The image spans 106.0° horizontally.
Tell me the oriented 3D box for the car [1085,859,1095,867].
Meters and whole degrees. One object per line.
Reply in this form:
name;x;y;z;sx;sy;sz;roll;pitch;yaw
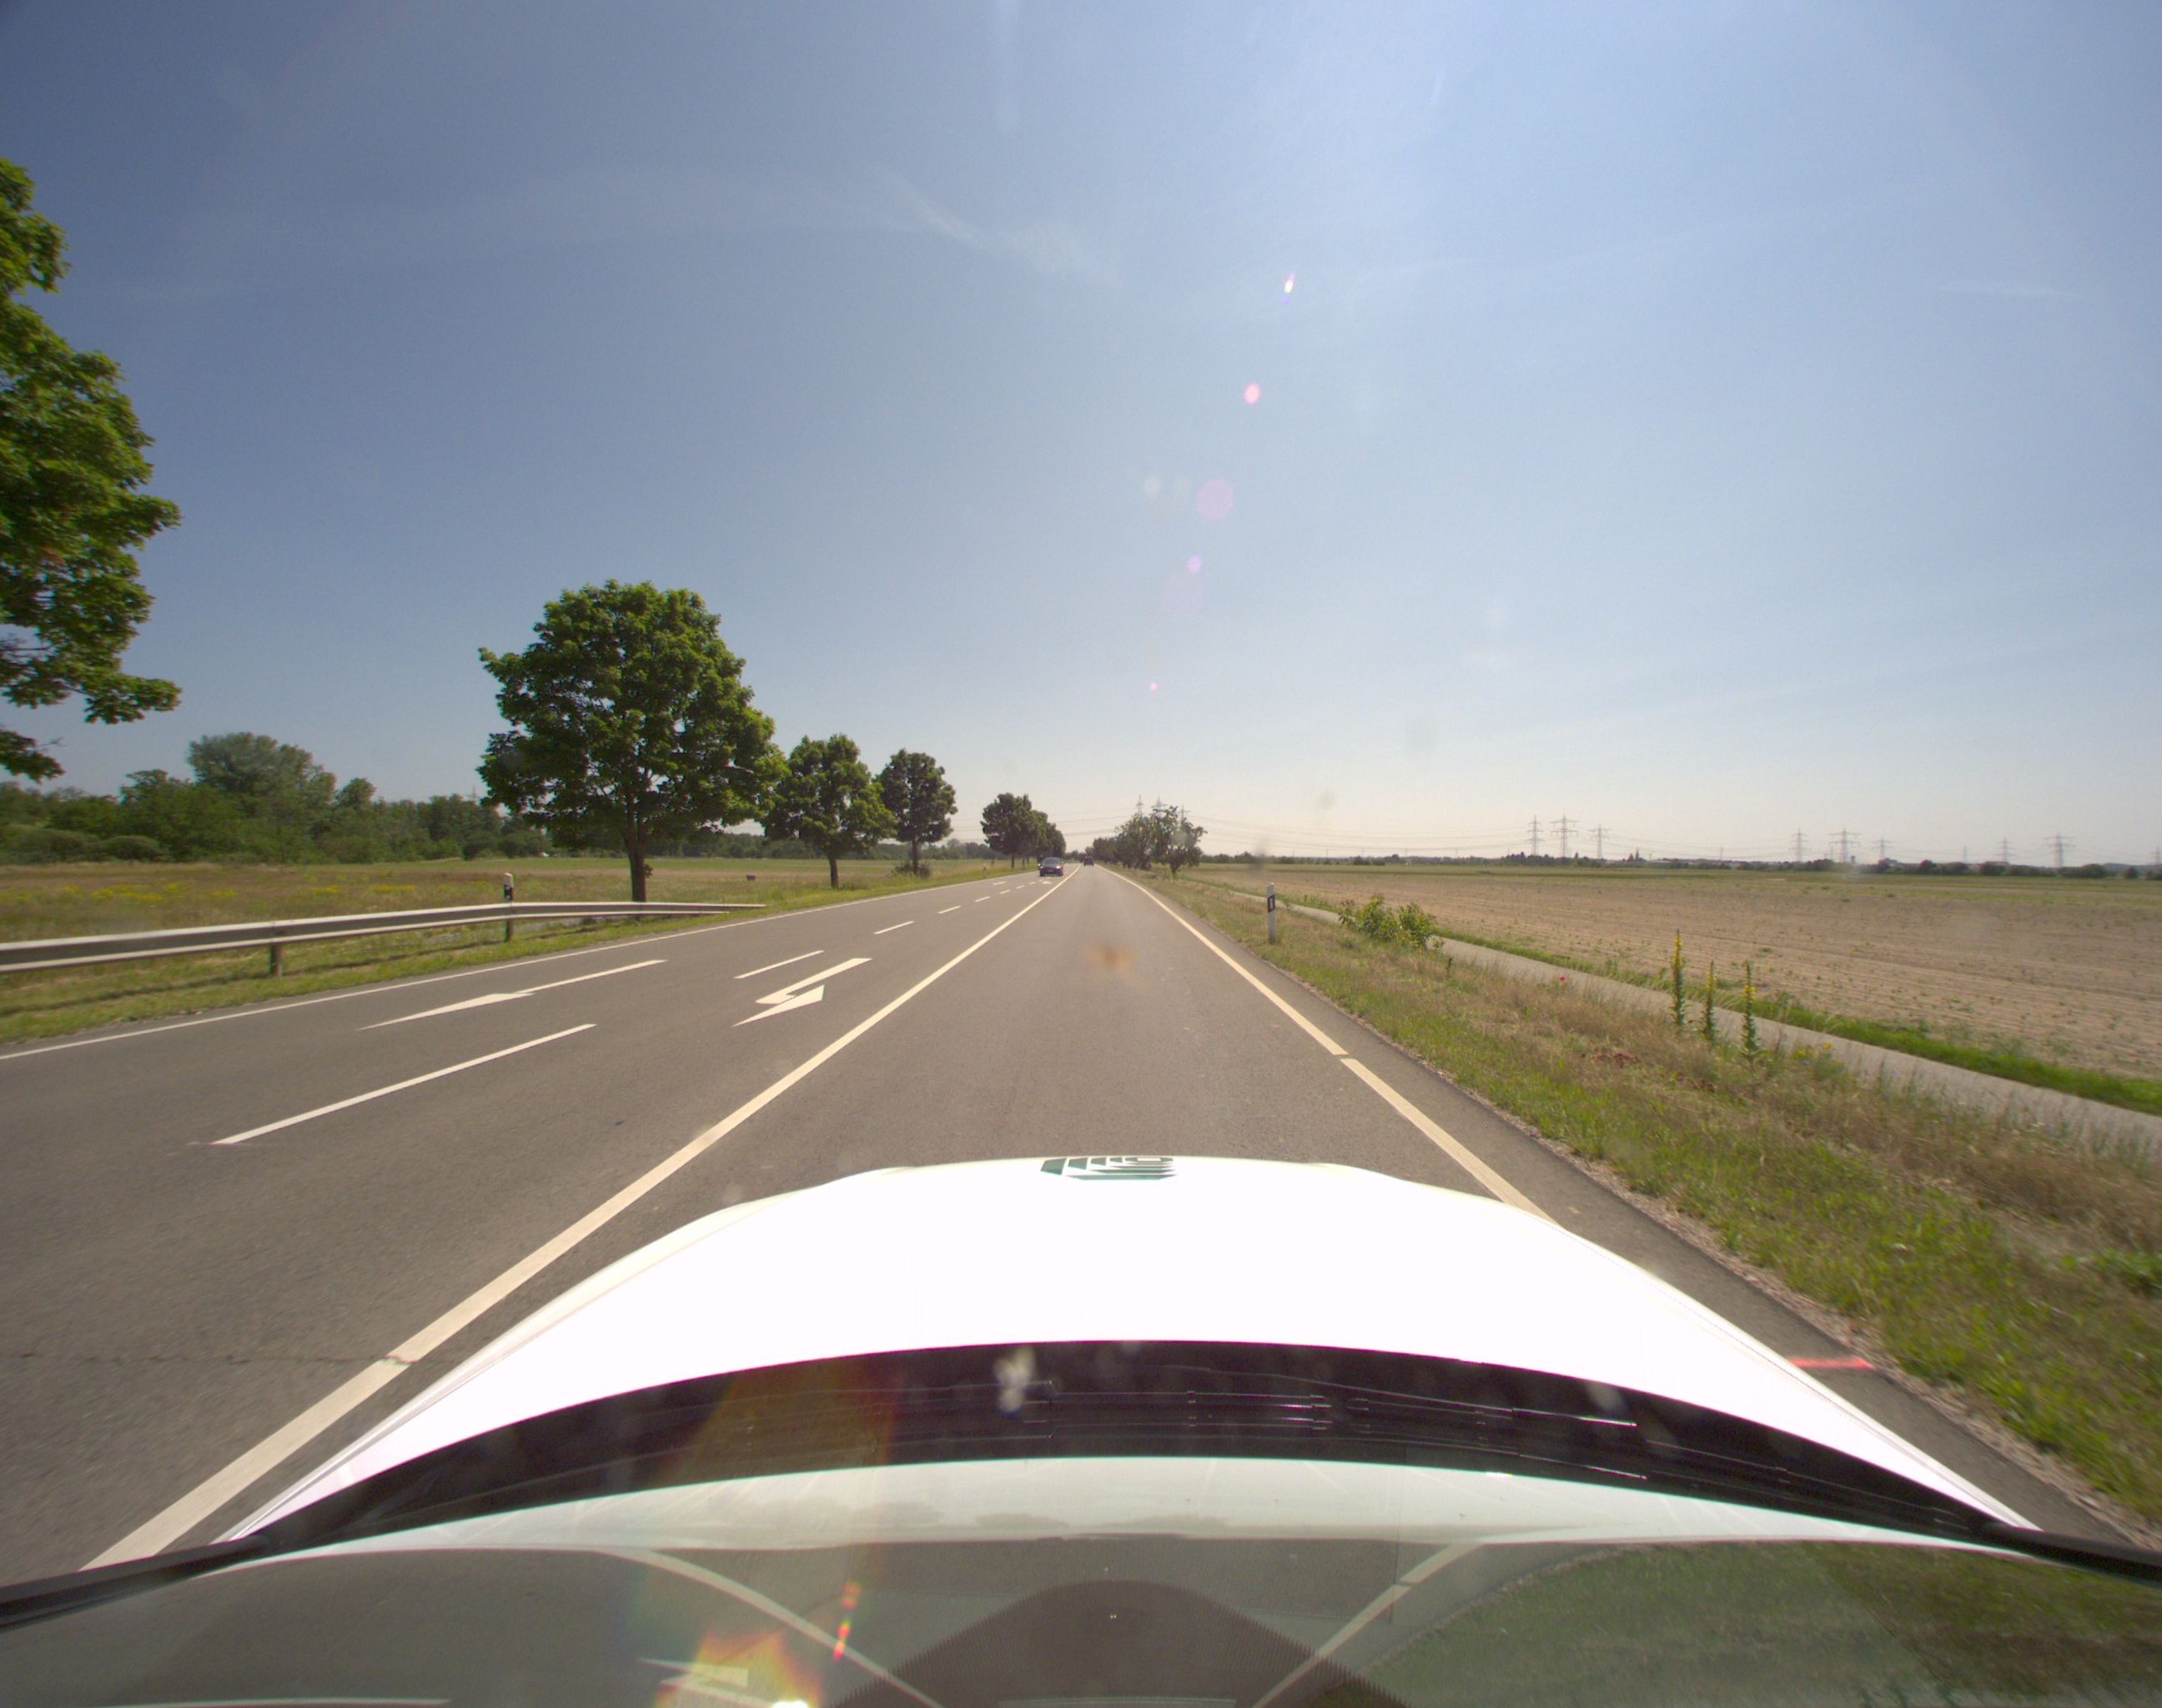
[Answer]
car;1.659;1.694;153.294;1.879;1.518;4.039;3;0;0

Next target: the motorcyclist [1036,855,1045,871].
motorcyclist;-4.246;0.953;86.164;0.850;1.721;1.089;-1;-1;3

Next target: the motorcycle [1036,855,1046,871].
motorcycle;-4.239;0.943;86.363;0.885;1.743;2.446;0;0;1

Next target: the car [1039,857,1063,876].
car;-2.416;0.974;66.385;1.734;1.473;4.617;-1;0;0
